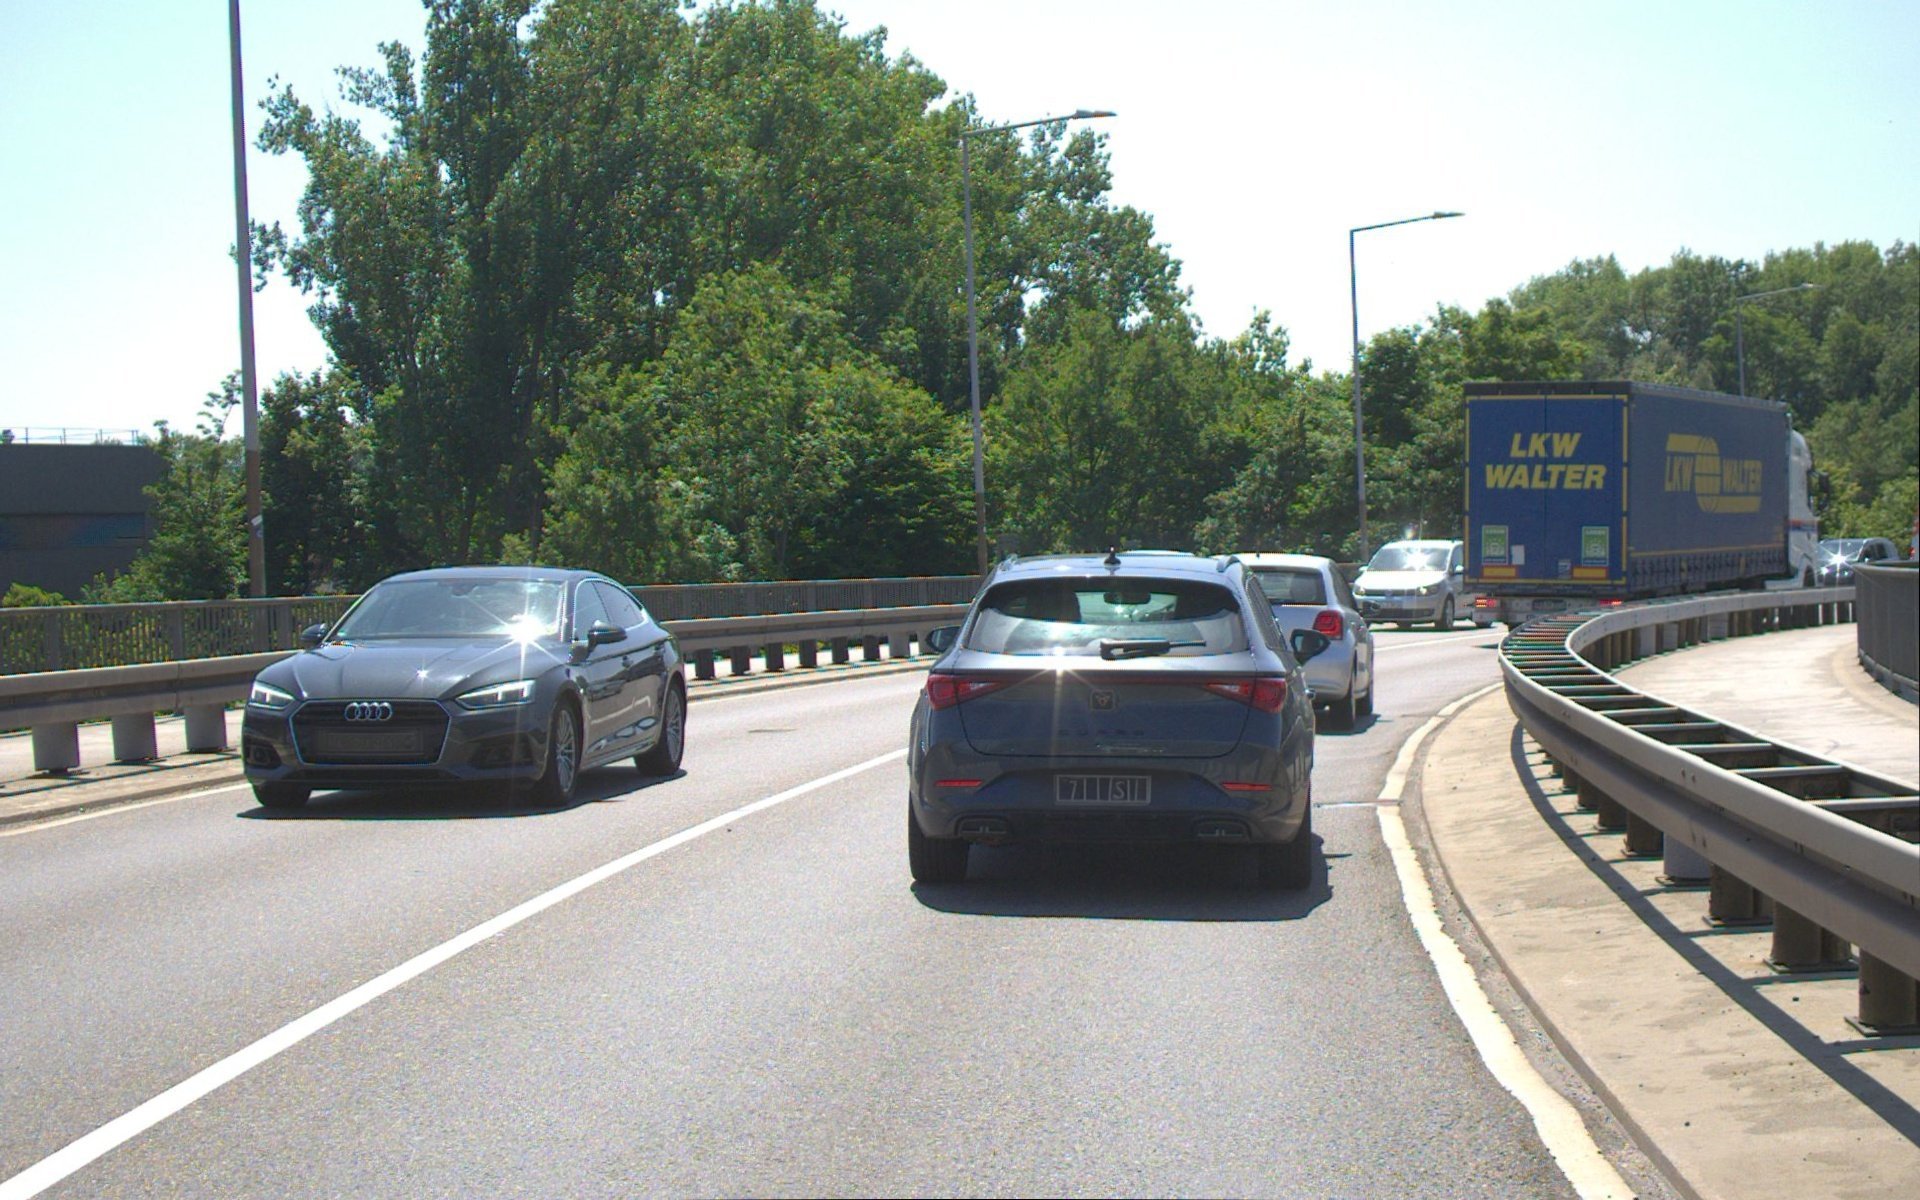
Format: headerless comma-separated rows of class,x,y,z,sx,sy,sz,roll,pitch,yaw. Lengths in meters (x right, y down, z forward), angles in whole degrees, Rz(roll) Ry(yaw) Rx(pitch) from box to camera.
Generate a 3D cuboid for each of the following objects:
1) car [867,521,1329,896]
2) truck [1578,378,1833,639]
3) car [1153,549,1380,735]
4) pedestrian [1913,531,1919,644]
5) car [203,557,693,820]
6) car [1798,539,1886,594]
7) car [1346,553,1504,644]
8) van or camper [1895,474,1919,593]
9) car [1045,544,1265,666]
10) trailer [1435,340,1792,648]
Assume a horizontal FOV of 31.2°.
car,0.658,0.395,15.718,1.846,1.493,3.758,0,1,3
truck,13.984,-1.616,64.053,3.174,4.569,7.387,1,0,24
car,2.682,0.322,29.460,1.594,1.456,3.543,1,1,10
pedestrian,17.053,-0.216,59.913,0.738,1.961,0.733,1,0,24
car,-2.969,0.477,20.967,1.790,1.410,4.574,-1,0,7
car,22.663,-0.859,88.243,1.253,1.172,2.915,5,0,33
car,8.483,-0.046,62.514,1.717,1.609,4.113,0,0,25
van or camper,23.945,-1.559,80.237,2.207,2.702,5.914,1,1,35
car,2.542,0.047,43.886,1.727,1.478,3.862,-1,0,20
trailer,11.271,-1.626,57.840,3.138,4.598,12.932,1,1,23
